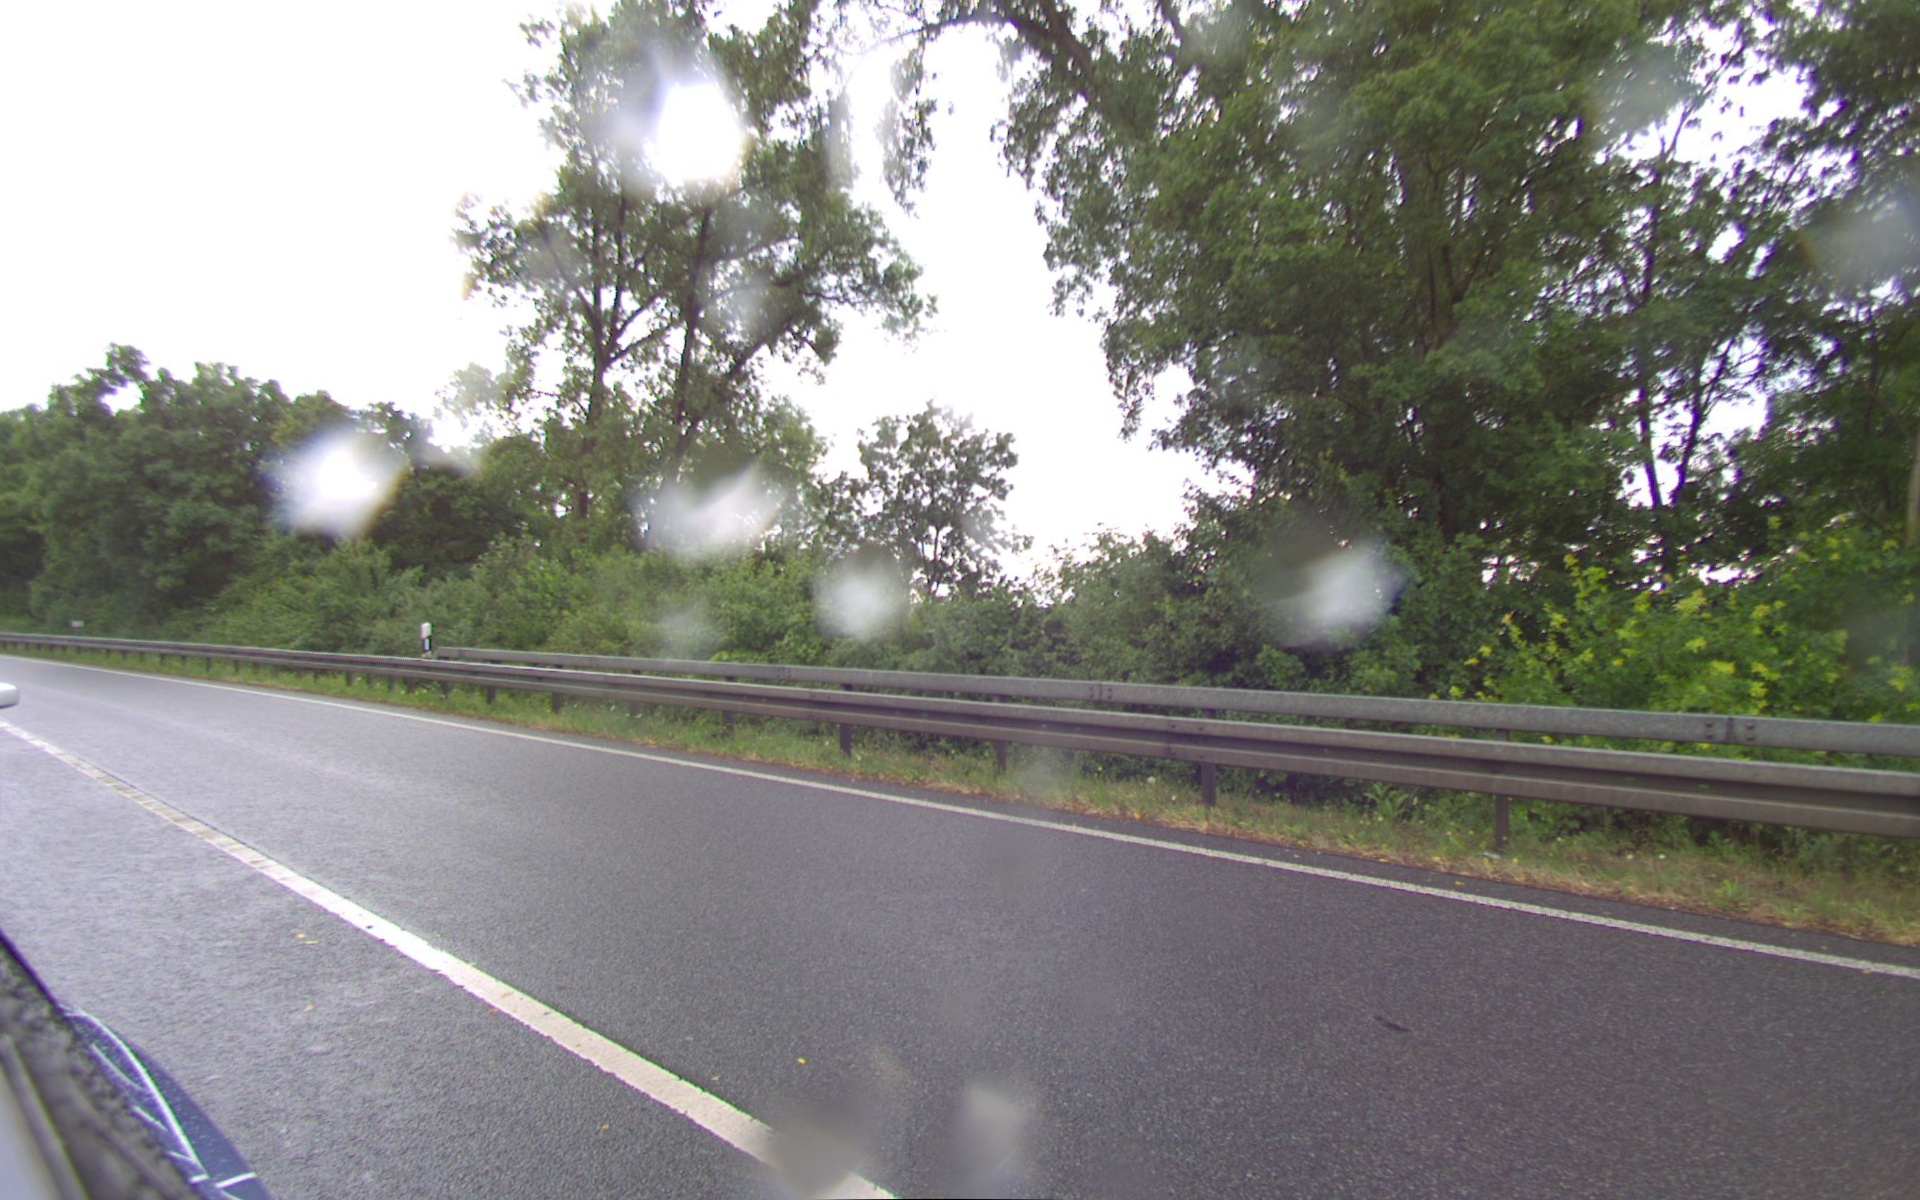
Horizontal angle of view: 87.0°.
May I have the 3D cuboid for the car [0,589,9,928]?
[{"bbox_3d":[-6.270,0.721,5.194,4.062,1.491,1.678,-1,-1,42],"label":"car"}]
